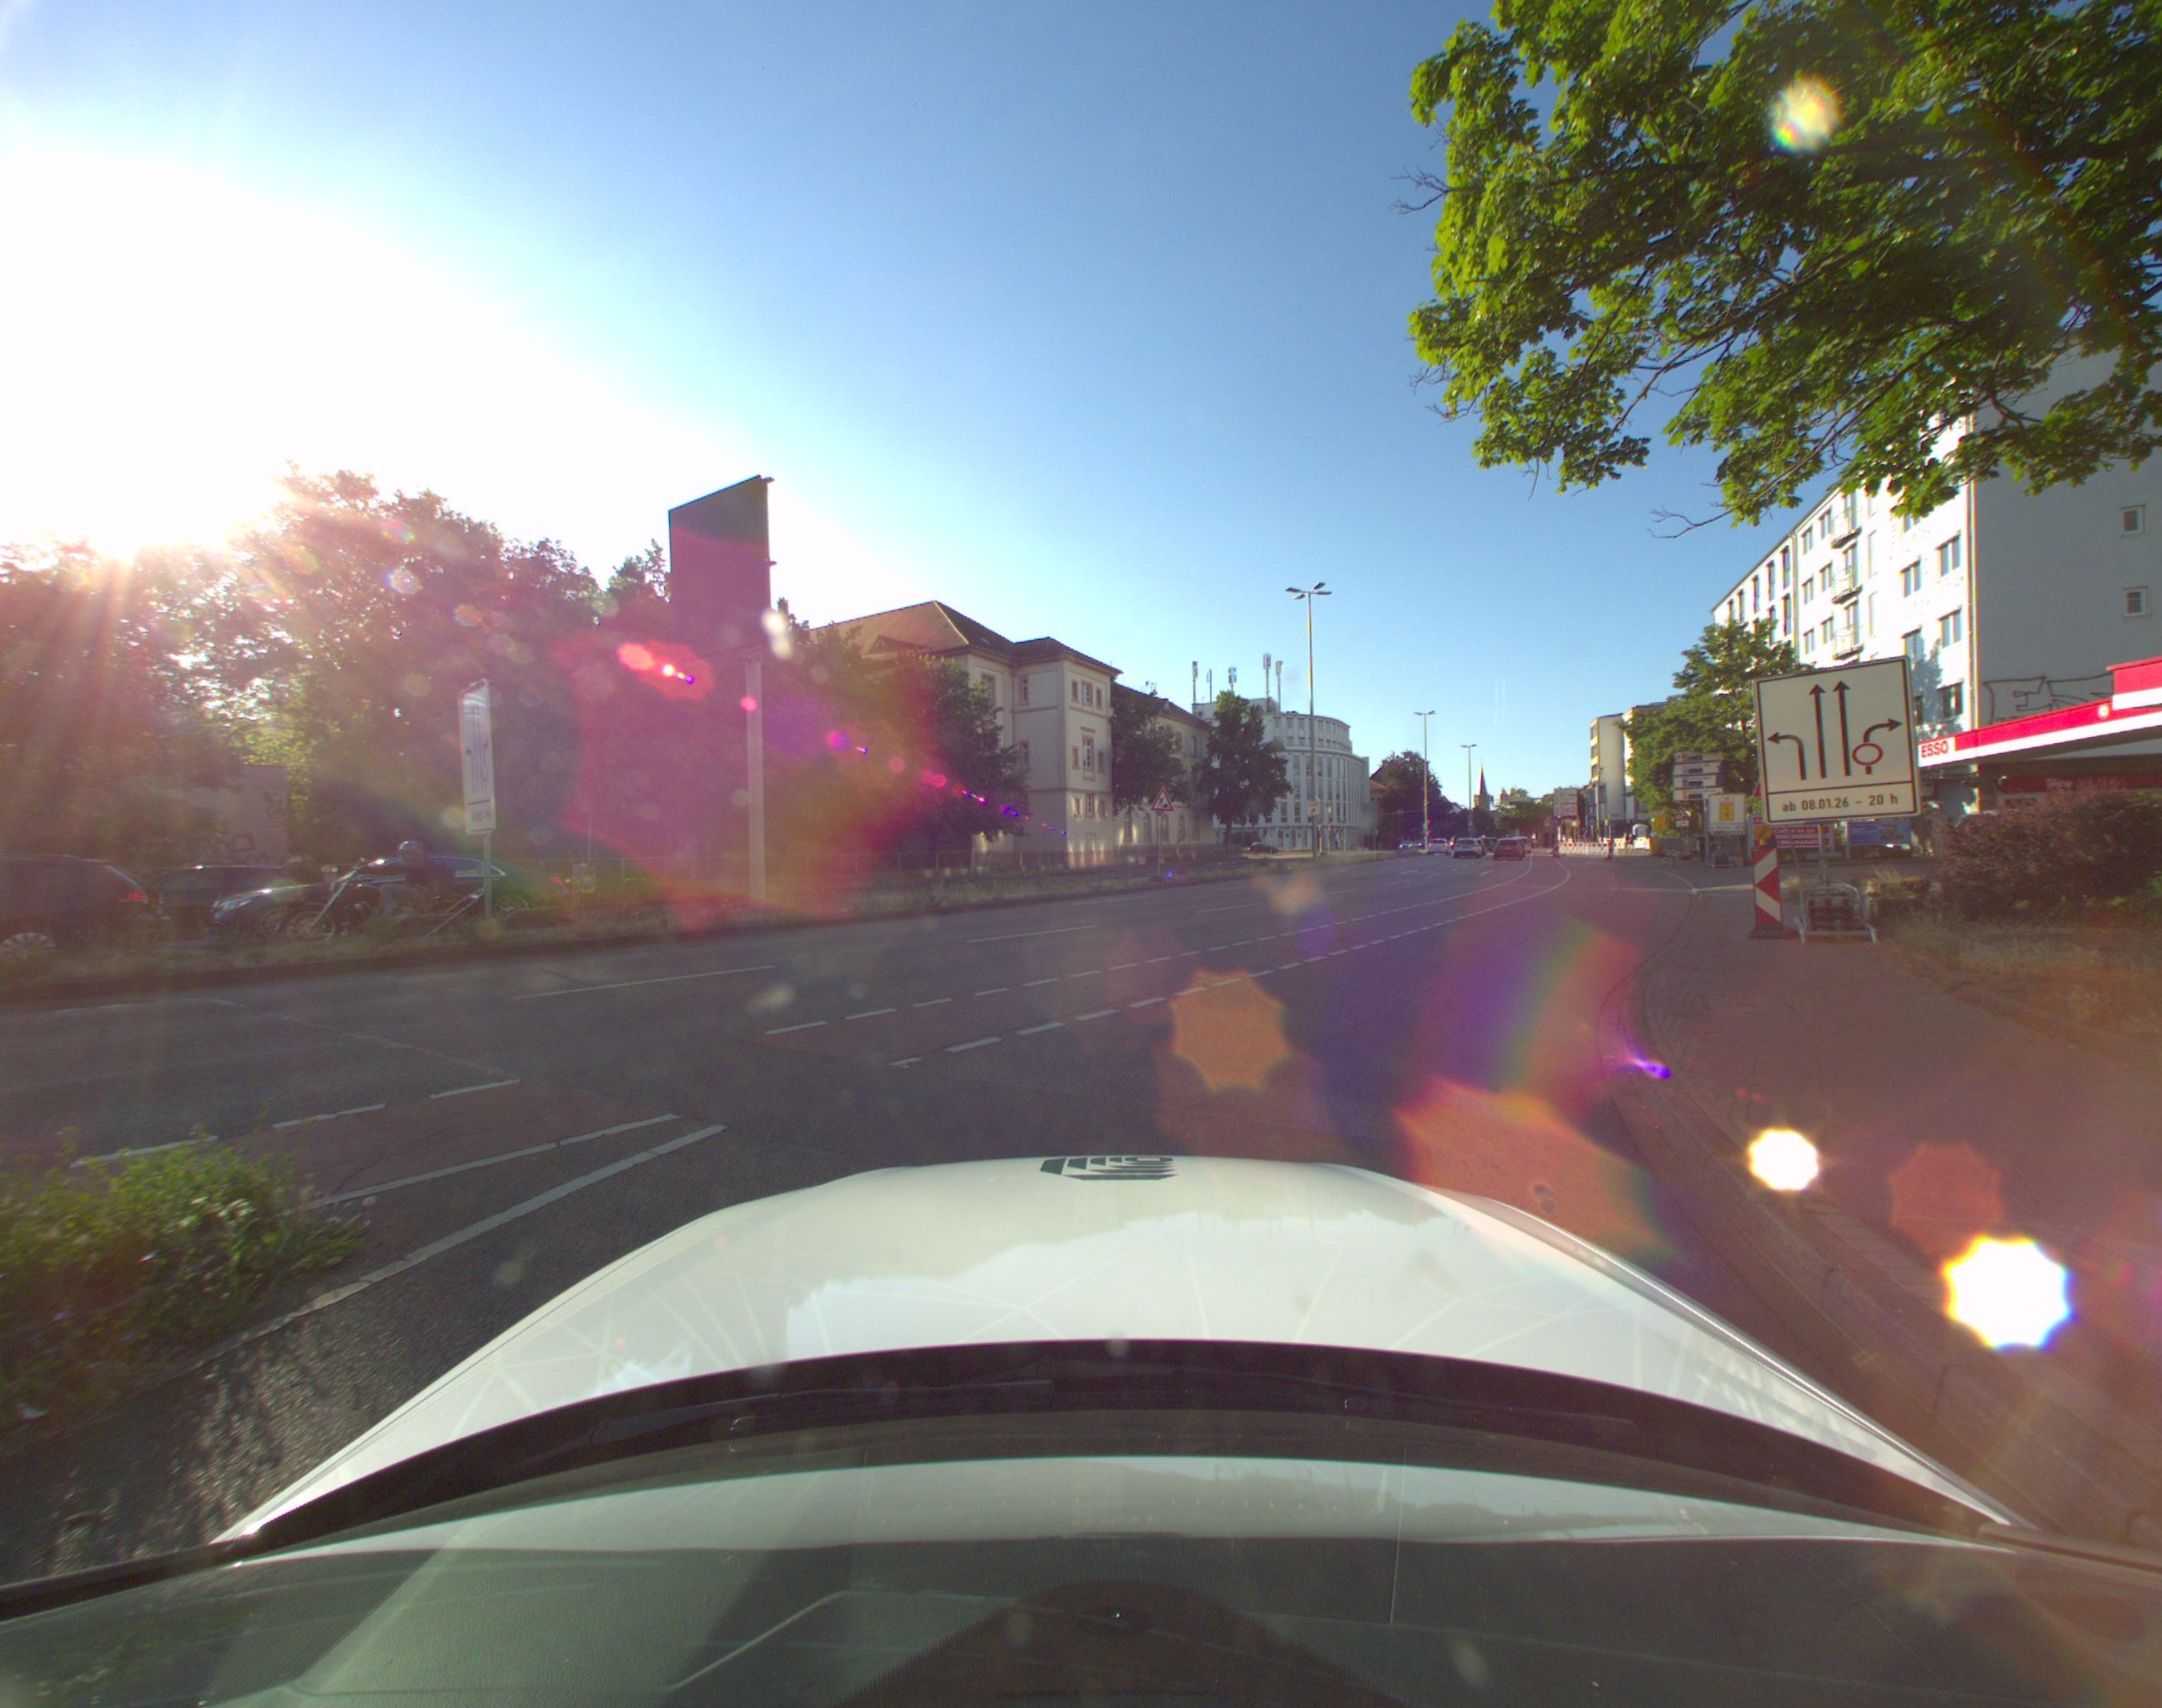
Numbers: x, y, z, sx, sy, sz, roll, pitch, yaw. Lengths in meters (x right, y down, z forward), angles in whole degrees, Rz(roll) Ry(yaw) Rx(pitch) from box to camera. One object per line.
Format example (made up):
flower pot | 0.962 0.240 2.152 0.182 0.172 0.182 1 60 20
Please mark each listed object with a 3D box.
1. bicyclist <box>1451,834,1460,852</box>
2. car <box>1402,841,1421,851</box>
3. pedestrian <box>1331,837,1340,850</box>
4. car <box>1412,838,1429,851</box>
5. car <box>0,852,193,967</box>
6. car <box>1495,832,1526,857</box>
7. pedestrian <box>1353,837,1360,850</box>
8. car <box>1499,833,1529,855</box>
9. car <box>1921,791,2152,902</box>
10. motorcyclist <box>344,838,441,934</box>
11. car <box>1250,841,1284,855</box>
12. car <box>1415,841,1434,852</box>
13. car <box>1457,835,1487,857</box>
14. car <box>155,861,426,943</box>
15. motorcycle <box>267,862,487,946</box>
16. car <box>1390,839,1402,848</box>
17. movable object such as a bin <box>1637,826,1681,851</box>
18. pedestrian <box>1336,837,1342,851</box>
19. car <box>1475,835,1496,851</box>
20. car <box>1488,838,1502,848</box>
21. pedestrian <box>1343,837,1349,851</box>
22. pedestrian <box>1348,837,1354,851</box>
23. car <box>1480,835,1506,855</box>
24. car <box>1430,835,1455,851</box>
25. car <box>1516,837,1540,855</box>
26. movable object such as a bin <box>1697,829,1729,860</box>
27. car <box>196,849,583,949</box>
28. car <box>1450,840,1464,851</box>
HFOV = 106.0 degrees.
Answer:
bicyclist | 35.925 -1.036 78.078 0.684 1.728 0.994 -1 0 26
car | 48.404 -1.220 119.335 1.974 1.413 4.471 -2 0 30
pedestrian | 38.994 -1.563 124.798 1.081 2.013 1.042 -1 0 40
car | 53.177 -1.434 127.479 1.823 1.816 4.025 -3 -2 31
car | -13.686 0.689 9.487 4.402 1.296 1.703 -2 0 -45
car | 28.962 -0.652 54.842 1.731 1.564 4.075 -1 0 29
pedestrian | 38.364 -1.459 113.227 0.620 1.868 1.134 -1 0 32
car | 32.655 -0.693 61.351 1.738 1.490 3.746 -3 -2 31
car | 15.852 -0.117 13.758 1.603 1.594 3.919 -1 0 36
motorcyclist | -10.683 0.464 12.647 1.068 1.398 0.844 -2 0 -45
car | 23.345 -0.787 102.145 3.773 1.530 1.874 -3 -2 26
car | 48.260 -1.077 114.328 1.975 1.578 4.929 -1 0 28
car | 29.231 -0.601 60.829 1.731 1.564 4.075 -1 0 29
car | -17.089 0.930 17.781 1.836 1.464 4.026 0 1 39
motorcycle | -10.764 0.714 12.552 2.484 1.107 0.851 -2 0 -45
car | 56.992 -1.932 147.386 1.825 1.572 4.022 -1 0 22
movable object such as a bin | 56.223 -1.487 79.295 3.297 2.383 1.538 -1 0 28
pedestrian | 36.405 -1.405 114.937 0.655 1.859 0.782 -1 0 17
car | 40.379 -1.081 81.281 1.666 1.504 3.746 -1 0 30
car | 57.540 -1.539 113.236 1.573 1.426 3.847 -1 0 30
pedestrian | 37.324 -1.414 114.501 0.752 1.842 0.822 -1 0 19
pedestrian | 37.672 -1.392 113.620 0.654 1.868 0.783 -1 0 27
car | 34.241 -0.744 67.683 1.731 1.564 4.075 -1 0 29
car | 32.776 -1.017 73.806 1.669 1.456 4.025 0 1 29
car | 40.857 -0.720 74.328 1.711 1.579 3.747 -1 0 31
movable object such as a bin | 32.095 -0.466 41.362 1.082 1.508 1.262 -1 -2 29
car | -12.804 0.709 15.479 1.974 1.495 5.326 -1 0 39
car | 54.980 -1.232 119.068 1.830 1.461 4.074 -1 0 26
